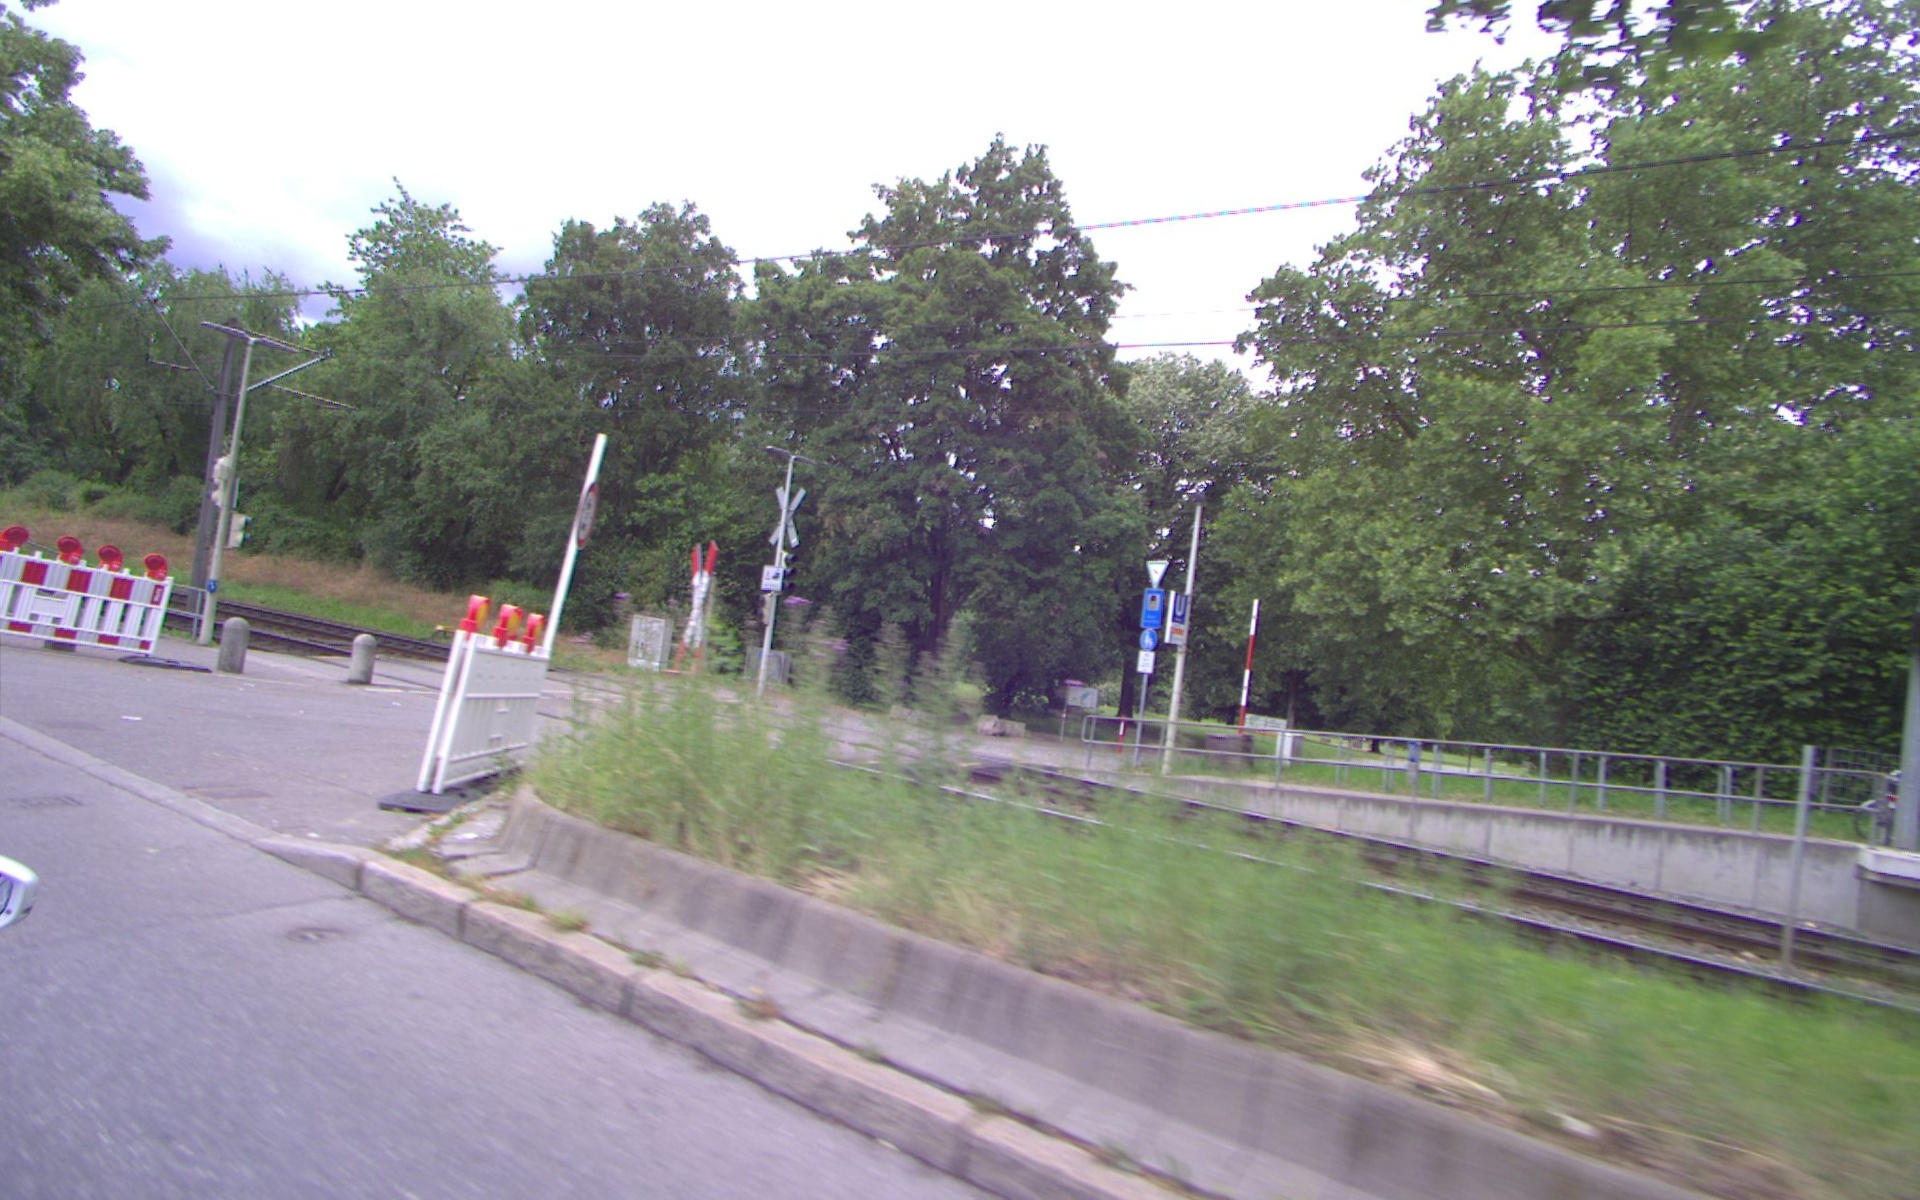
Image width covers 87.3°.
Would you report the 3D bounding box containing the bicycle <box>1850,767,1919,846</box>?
[{"bbox_3d":[13.200,2.907,14.305,0.443,0.984,1.513,7,-4,30],"label":"bicycle"}]
